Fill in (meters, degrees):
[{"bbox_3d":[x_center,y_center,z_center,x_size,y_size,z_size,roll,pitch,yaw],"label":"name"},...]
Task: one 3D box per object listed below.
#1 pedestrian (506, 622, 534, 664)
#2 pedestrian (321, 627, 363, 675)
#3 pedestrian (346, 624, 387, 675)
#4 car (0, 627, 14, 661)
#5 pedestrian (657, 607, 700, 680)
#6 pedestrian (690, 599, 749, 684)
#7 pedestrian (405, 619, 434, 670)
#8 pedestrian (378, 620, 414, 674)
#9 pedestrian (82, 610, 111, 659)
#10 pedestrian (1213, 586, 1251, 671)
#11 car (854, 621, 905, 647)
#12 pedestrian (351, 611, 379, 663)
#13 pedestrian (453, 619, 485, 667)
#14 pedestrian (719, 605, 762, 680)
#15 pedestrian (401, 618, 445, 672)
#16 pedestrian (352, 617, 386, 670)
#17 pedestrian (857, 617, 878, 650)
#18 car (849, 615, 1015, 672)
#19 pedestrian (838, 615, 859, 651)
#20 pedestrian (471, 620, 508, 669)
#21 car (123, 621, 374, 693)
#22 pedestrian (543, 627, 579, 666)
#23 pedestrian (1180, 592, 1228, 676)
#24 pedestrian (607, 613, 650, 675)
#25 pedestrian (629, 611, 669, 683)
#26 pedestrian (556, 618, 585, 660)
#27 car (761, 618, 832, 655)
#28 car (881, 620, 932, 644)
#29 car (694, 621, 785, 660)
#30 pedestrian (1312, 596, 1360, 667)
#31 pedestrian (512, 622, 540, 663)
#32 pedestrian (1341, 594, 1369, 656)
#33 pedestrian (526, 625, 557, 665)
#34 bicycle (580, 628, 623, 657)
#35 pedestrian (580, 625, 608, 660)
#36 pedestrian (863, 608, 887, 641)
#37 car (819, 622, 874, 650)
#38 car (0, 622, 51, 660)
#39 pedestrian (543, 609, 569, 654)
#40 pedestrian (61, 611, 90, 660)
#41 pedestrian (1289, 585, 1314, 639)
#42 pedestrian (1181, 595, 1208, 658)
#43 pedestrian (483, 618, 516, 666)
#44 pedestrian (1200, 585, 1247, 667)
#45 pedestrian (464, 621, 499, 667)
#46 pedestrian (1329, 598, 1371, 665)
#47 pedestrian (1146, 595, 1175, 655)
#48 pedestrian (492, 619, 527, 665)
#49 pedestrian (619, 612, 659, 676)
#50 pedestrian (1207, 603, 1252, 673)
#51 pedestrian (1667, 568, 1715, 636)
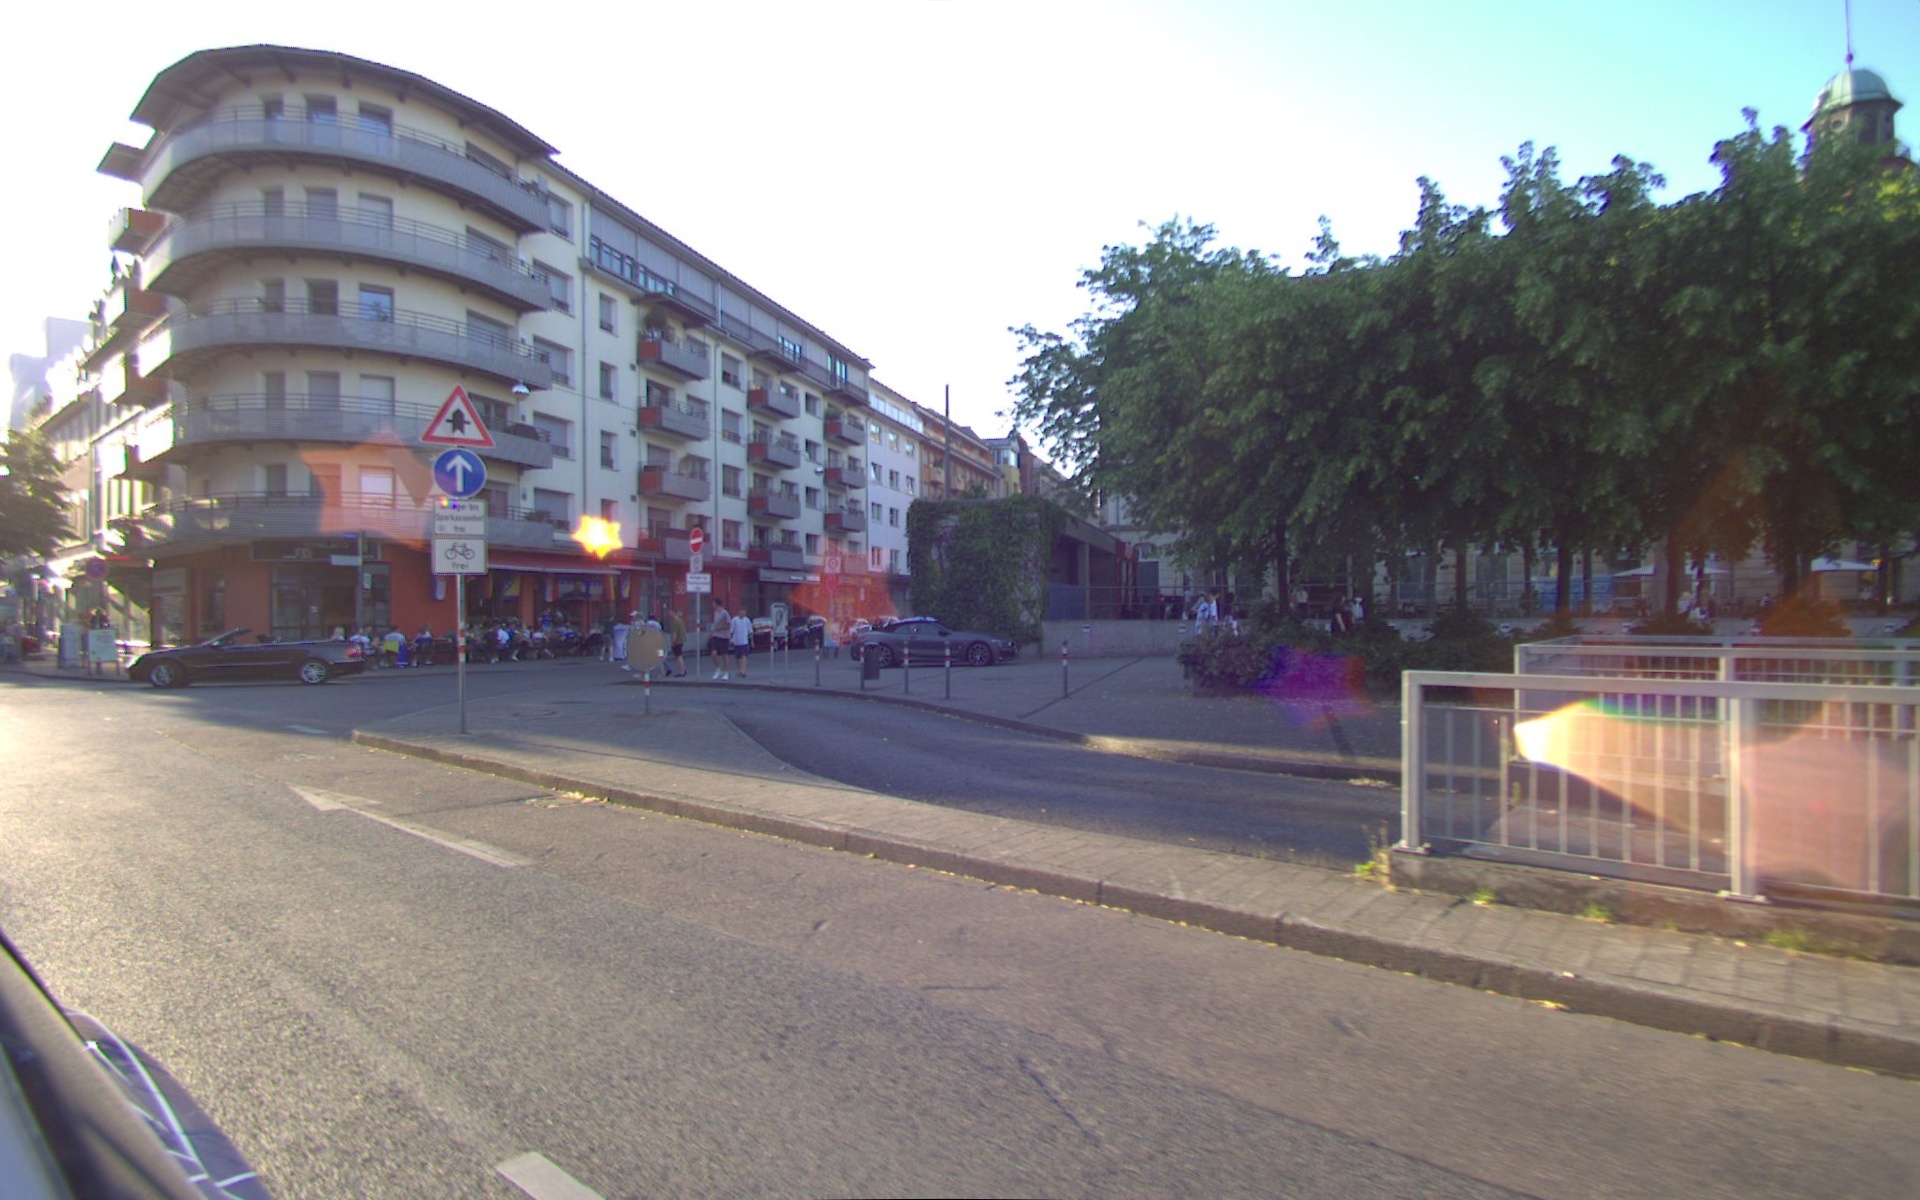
[{"bbox_3d":[-15.352,1.501,35.309,0.661,1.445,0.558,1,-1,14],"label":"pedestrian"},{"bbox_3d":[-17.480,1.426,28.650,0.675,1.291,0.970,0,1,-8],"label":"pedestrian"},{"bbox_3d":[-16.701,1.380,28.490,0.758,1.392,0.841,0,0,-9],"label":"pedestrian"},{"bbox_3d":[-42.264,1.880,42.099,1.996,1.431,3.950,-1,-1,37],"label":"car"},{"bbox_3d":[-7.511,1.158,26.984,0.715,1.891,0.840,-3,-2,45],"label":"pedestrian"},{"bbox_3d":[-5.577,0.960,23.467,0.977,1.898,0.884,-2,-2,19],"label":"pedestrian"},{"bbox_3d":[-16.928,1.393,31.678,0.638,1.548,0.754,0,-2,-41],"label":"pedestrian"},{"bbox_3d":[-16.479,1.361,29.568,0.712,1.547,0.681,-1,-1,33],"label":"pedestrian"},{"bbox_3d":[-35.438,1.408,41.535,0.803,1.963,0.722,-2,-1,35],"label":"pedestrian"},{"bbox_3d":[6.176,0.644,22.979,0.709,1.890,0.776,-2,-2,20],"label":"pedestrian"},{"bbox_3d":[-4.868,2.030,61.856,1.754,1.488,3.925,-2,-2,17],"label":"car"},{"bbox_3d":[-20.992,1.307,35.723,0.606,1.790,0.615,-1,-1,14],"label":"pedestrian"},{"bbox_3d":[-16.185,1.410,33.360,0.669,1.547,0.651,1,-1,14],"label":"pedestrian"},{"bbox_3d":[-5.475,1.062,25.276,0.969,1.807,0.892,-1,-2,-9],"label":"pedestrian"},{"bbox_3d":[-16.022,1.326,30.211,0.709,1.547,0.848,3,0,18],"label":"pedestrian"},{"bbox_3d":[-17.632,1.301,30.213,0.702,1.547,0.855,-1,-2,-18],"label":"pedestrian"},{"bbox_3d":[-4.905,1.770,53.552,0.911,1.740,0.700,-1,-1,12],"label":"pedestrian"},{"bbox_3d":[-0.744,1.236,29.005,4.402,1.441,2.099,-2,-2,11],"label":"car"},{"bbox_3d":[-5.934,1.762,53.836,0.991,1.841,0.948,-1,-2,-11],"label":"pedestrian"},{"bbox_3d":[-15.347,1.430,32.994,0.707,1.547,0.756,3,-1,13],"label":"pedestrian"},{"bbox_3d":[-16.100,1.222,23.145,4.540,1.418,1.815,0,0,-35],"label":"car"},{"bbox_3d":[-14.290,1.658,36.229,0.877,1.315,0.842,0,0,36],"label":"pedestrian"},{"bbox_3d":[5.215,0.721,21.665,0.676,1.759,0.718,-1,-2,-12],"label":"pedestrian"},{"bbox_3d":[-9.847,1.299,30.108,0.845,1.807,0.863,-2,-2,19],"label":"pedestrian"},{"bbox_3d":[-8.123,1.213,26.445,0.705,1.817,0.882,-2,-2,2],"label":"pedestrian"},{"bbox_3d":[-14.711,1.476,38.236,0.840,1.548,0.715,-2,-2,-5],"label":"pedestrian"},{"bbox_3d":[-8.036,1.794,50.204,1.868,1.712,4.114,-2,-2,17],"label":"car"},{"bbox_3d":[-3.468,2.077,66.034,1.853,1.488,4.367,-2,-2,18],"label":"car"},{"bbox_3d":[-9.644,1.742,44.647,1.865,1.564,4.602,-2,-2,18],"label":"car"},{"bbox_3d":[8.748,0.729,23.586,0.788,1.594,0.730,-2,-2,2],"label":"pedestrian"},{"bbox_3d":[-15.532,1.516,36.220,0.708,1.432,0.599,-2,-2,16],"label":"pedestrian"},{"bbox_3d":[11.316,0.720,29.004,0.617,1.740,0.799,-1,-1,15],"label":"pedestrian"},{"bbox_3d":[-14.538,1.563,35.148,0.649,1.355,0.746,1,-1,14],"label":"pedestrian"},{"bbox_3d":[-14.244,1.675,40.259,0.545,1.095,1.995,-2,-2,16],"label":"bicycle"},{"bbox_3d":[-13.851,1.608,38.305,0.840,1.287,0.715,0,1,-5],"label":"pedestrian"},{"bbox_3d":[-4.413,1.272,52.626,0.830,1.740,0.911,-2,-1,29],"label":"pedestrian"},{"bbox_3d":[-6.315,1.990,56.696,1.737,1.414,3.949,-2,-2,14],"label":"car"},{"bbox_3d":[-40.061,1.679,41.149,1.815,1.553,4.387,-2,-1,39],"label":"car"},{"bbox_3d":[-15.995,1.248,40.073,0.712,1.734,0.665,-1,-1,15],"label":"pedestrian"},{"bbox_3d":[-35.740,1.430,40.881,0.739,1.963,0.722,-2,-1,35],"label":"pedestrian"},{"bbox_3d":[12.951,0.452,38.373,0.827,2.029,1.059,-1,-1,20],"label":"pedestrian"},{"bbox_3d":[6.995,0.781,30.162,0.696,1.833,1.117,-1,-1,15],"label":"pedestrian"},{"bbox_3d":[-15.361,1.404,33.796,0.644,1.539,0.697,3,-1,13],"label":"pedestrian"},{"bbox_3d":[6.170,0.614,23.728,0.879,1.867,0.983,-2,-2,7],"label":"pedestrian"},{"bbox_3d":[-16.101,1.465,34.059,0.762,1.515,0.780,-1,-1,14],"label":"pedestrian"},{"bbox_3d":[9.239,0.753,23.976,0.668,1.554,0.594,-1,-2,-32],"label":"pedestrian"},{"bbox_3d":[6.047,0.751,30.485,0.756,1.795,0.793,-1,-1,18],"label":"pedestrian"},{"bbox_3d":[-15.421,1.440,34.650,0.844,1.548,0.677,-2,-2,13],"label":"pedestrian"},{"bbox_3d":[-9.270,1.255,29.244,0.806,1.807,0.732,-2,-2,19],"label":"pedestrian"},{"bbox_3d":[5.929,0.831,22.259,0.704,1.497,0.605,-1,-2,-13],"label":"pedestrian"},{"bbox_3d":[19.169,0.052,26.556,0.696,1.740,0.916,-1,-1,15],"label":"pedestrian"}]
